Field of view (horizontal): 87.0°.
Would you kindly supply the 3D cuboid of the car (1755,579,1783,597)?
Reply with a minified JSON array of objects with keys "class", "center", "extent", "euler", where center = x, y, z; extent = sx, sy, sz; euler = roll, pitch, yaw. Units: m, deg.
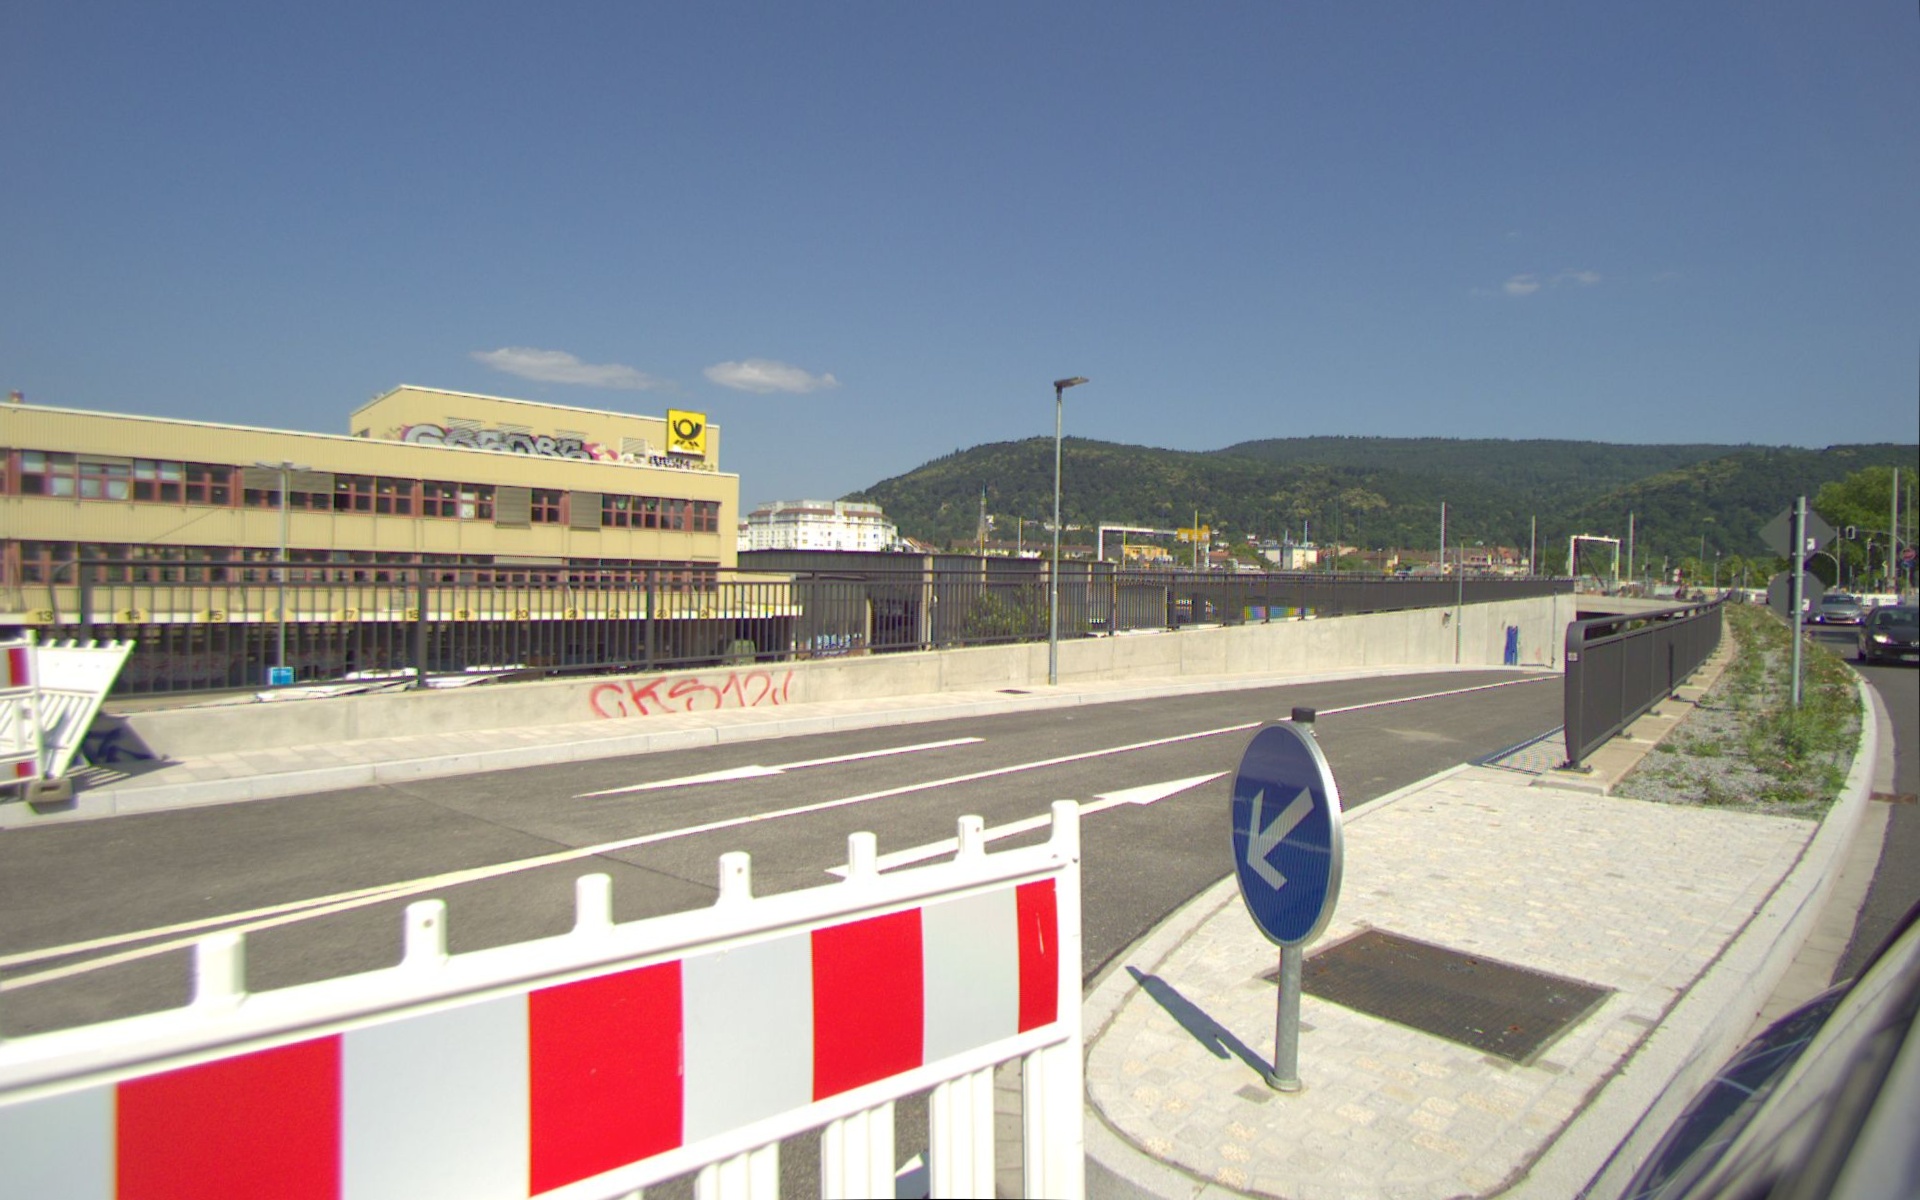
[{"class":"car","center":[70.960,-1.076,88.812],"extent":[1.609,1.459,3.722],"euler":[1,2,34]}]

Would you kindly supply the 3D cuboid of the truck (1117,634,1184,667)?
[{"class":"truck","center":[18.921,4.943,100.248],"extent":[8.250,2.792,1.996],"euler":[-1,1,-42]}]

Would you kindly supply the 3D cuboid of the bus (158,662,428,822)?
[{"class":"bus","center":[-26.020,5.099,41.254],"extent":[2.610,3.811,17.159],"euler":[0,1,-10]}]

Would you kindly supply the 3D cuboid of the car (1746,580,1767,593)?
[{"class":"car","center":[91.820,-1.536,116.683],"extent":[1.609,1.459,3.722],"euler":[1,2,34]}]

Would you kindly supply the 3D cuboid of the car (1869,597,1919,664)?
[{"class":"car","center":[22.971,0.689,24.220],"extent":[1.612,1.459,3.654],"euler":[2,2,40]}]

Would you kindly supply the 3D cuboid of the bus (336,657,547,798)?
[{"class":"bus","center":[-22.546,5.156,45.785],"extent":[2.611,3.811,17.502],"euler":[0,1,-7]}]

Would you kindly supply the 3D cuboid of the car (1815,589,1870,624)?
[{"class":"car","center":[40.578,0.266,46.607],"extent":[1.611,1.459,3.718],"euler":[1,2,37]}]

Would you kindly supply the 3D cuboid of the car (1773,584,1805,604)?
[{"class":"car","center":[64.761,-0.507,79.085],"extent":[1.609,1.459,3.721],"euler":[1,2,35]}]
